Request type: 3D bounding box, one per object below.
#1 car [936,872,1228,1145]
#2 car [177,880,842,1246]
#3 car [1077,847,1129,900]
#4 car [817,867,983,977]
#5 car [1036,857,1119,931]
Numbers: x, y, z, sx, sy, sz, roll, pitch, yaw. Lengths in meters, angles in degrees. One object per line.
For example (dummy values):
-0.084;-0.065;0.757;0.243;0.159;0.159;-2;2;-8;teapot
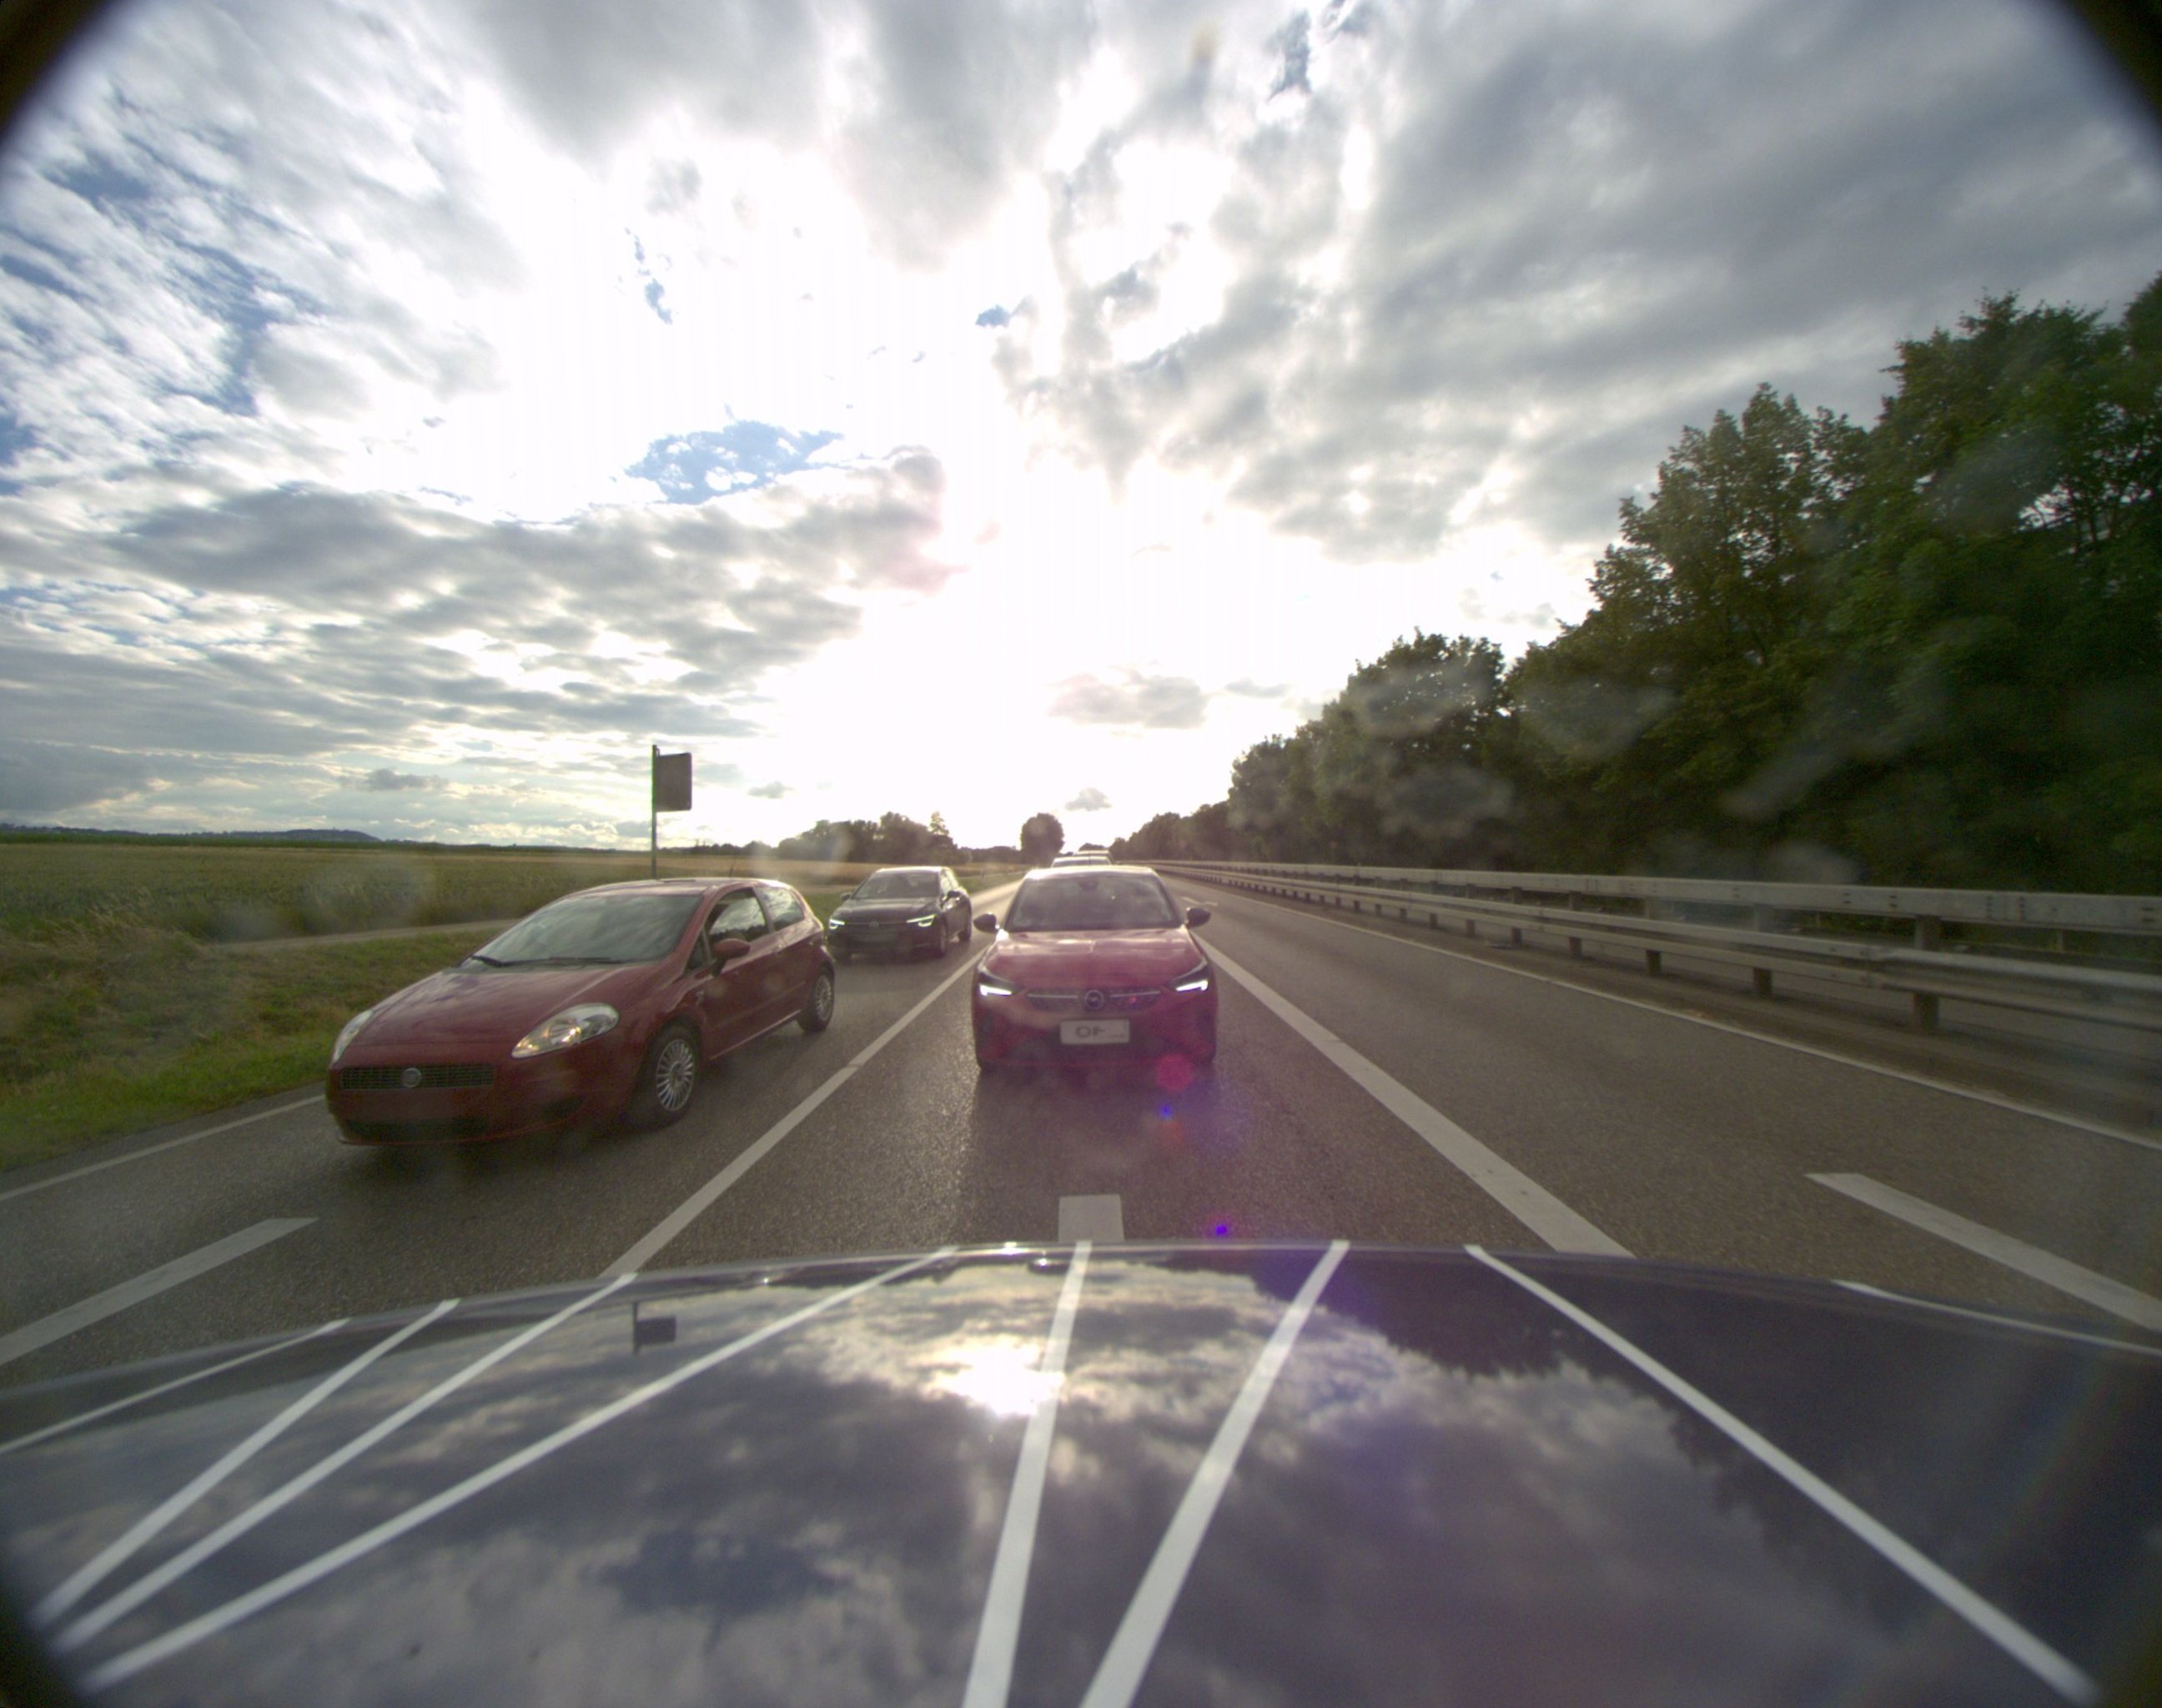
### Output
0.036;0.990;6.644;1.712;1.448;4.061;-2;1;1;car
-3.253;1.042;5.462;1.712;1.448;3.908;-2;1;1;car
0.766;0.638;27.681;1.671;1.730;4.032;-2;1;1;car
-2.923;1.028;13.173;1.799;1.448;4.032;-2;1;1;car
-0.044;0.857;18.224;1.712;1.448;4.061;-2;1;1;car
